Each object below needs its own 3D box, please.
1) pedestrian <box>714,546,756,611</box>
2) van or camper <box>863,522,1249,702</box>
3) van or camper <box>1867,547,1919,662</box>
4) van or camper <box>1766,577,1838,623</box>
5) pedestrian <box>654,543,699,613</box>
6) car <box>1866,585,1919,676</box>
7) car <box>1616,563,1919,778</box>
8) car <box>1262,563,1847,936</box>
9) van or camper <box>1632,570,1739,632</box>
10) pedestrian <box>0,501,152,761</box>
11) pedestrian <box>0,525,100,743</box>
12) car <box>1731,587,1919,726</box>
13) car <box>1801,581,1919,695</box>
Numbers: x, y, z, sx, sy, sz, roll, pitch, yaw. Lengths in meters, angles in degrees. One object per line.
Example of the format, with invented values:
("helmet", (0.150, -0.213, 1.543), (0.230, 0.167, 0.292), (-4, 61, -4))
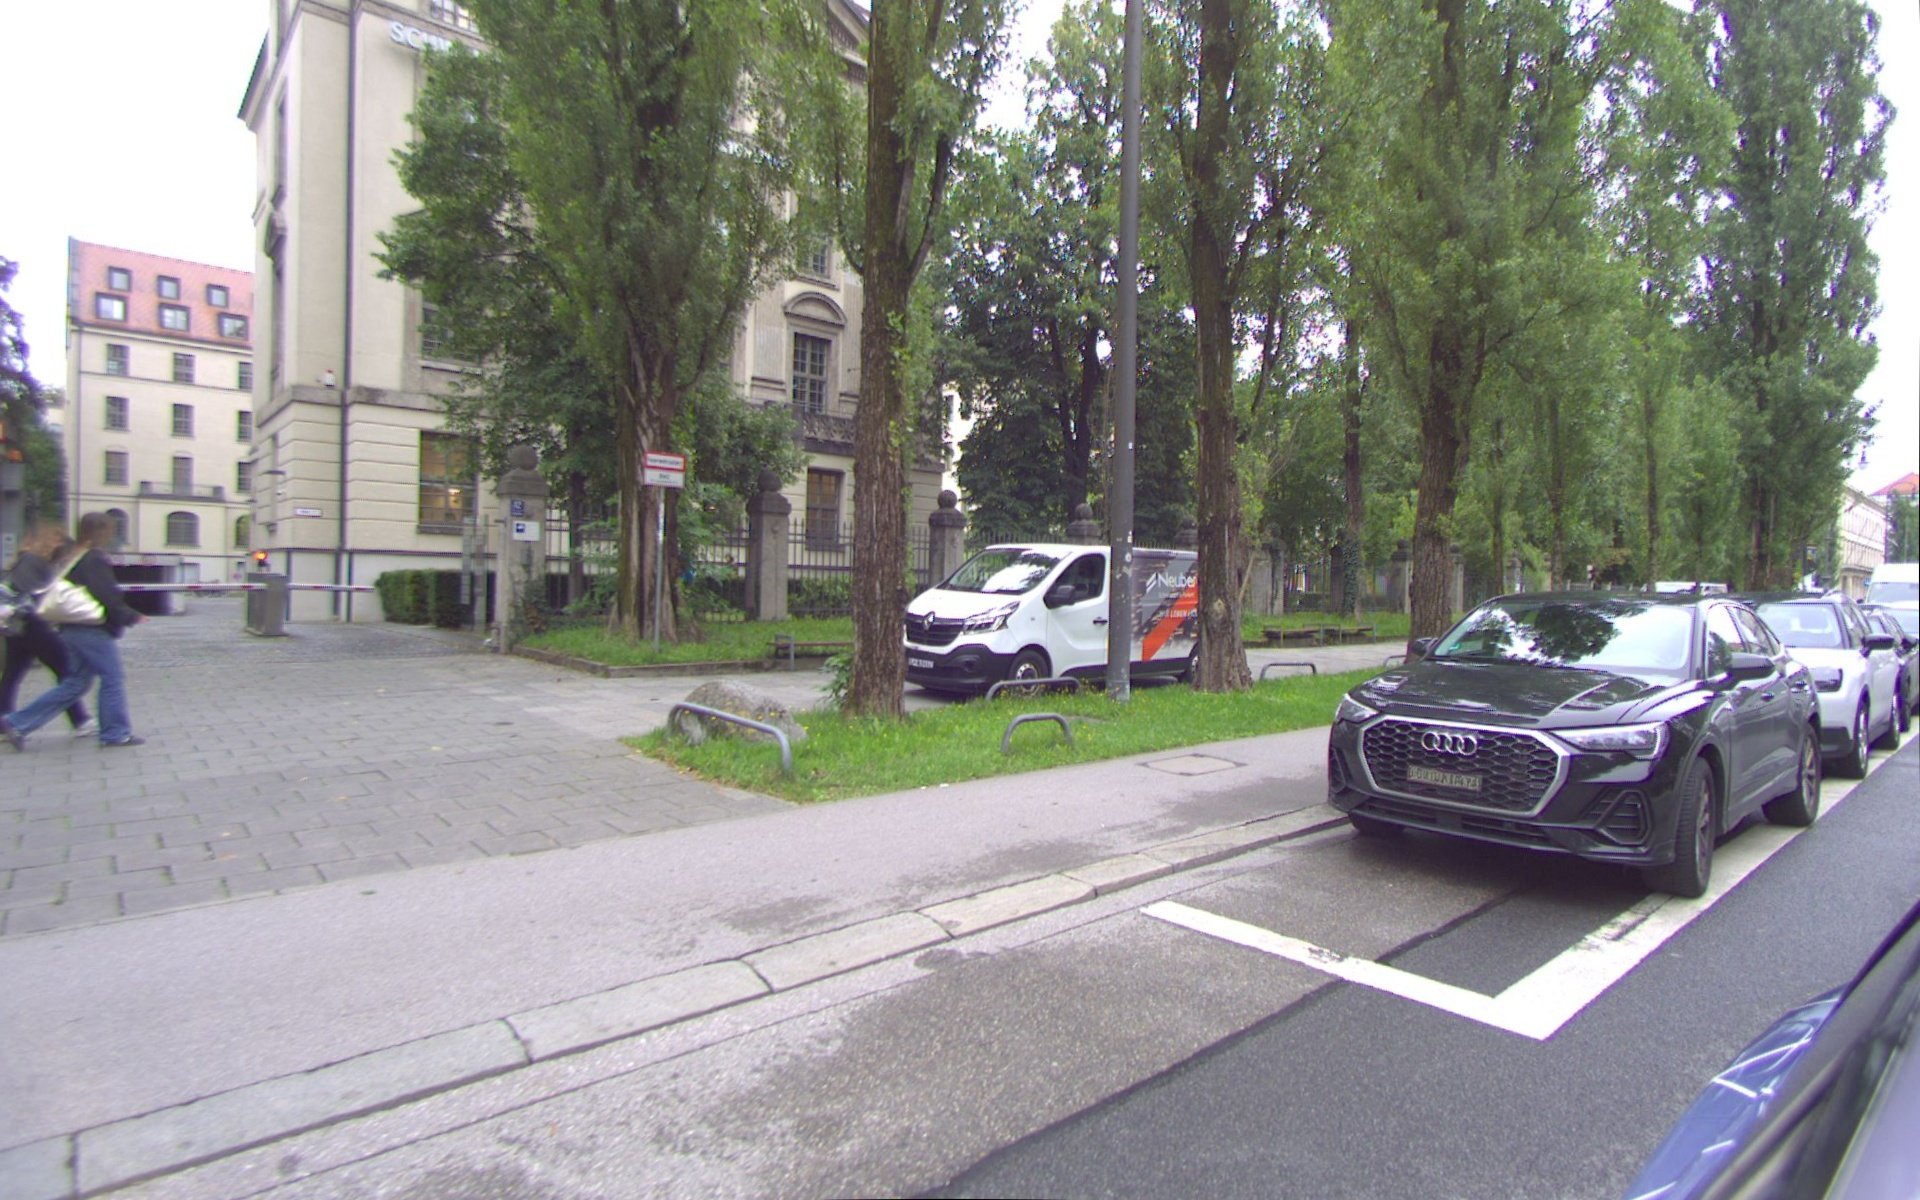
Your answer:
("pedestrian", (-6.298, -0.594, 28.332), (0.879, 1.790, 0.797), (1, 1, -38))
("van or camper", (1.466, 0.129, 13.500), (5.274, 1.958, 2.080), (0, 0, -41))
("van or camper", (23.998, 0.108, 24.624), (6.306, 2.572, 2.142), (0, 1, -42))
("van or camper", (39.191, -0.019, 47.061), (4.902, 2.039, 2.005), (0, 0, -43))
("pedestrian", (-7.441, -0.567, 26.538), (0.879, 1.790, 0.797), (1, 1, -38))
("car", (19.350, 0.578, 20.013), (4.344, 1.669, 1.786), (0, 1, -44))
("car", (8.302, 0.546, 10.146), (4.500, 1.696, 1.746), (0, 1, -42))
("car", (3.973, 0.613, 6.405), (4.386, 1.560, 1.884), (0, 1, -41))
("van or camper", (24.768, 0.026, 34.465), (4.951, 1.958, 1.978), (0, 0, -42))
("pedestrian", (-6.405, 0.189, 7.302), (0.852, 1.738, 0.855), (0, 2, -42))
("pedestrian", (-7.101, 0.239, 7.685), (0.852, 1.598, 0.568), (0, 1, -42))
("car", (11.830, 0.637, 13.474), (4.220, 1.539, 1.705), (0, 1, -42))
("car", (15.443, 0.564, 16.653), (4.557, 1.638, 1.787), (0, 1, -42))
